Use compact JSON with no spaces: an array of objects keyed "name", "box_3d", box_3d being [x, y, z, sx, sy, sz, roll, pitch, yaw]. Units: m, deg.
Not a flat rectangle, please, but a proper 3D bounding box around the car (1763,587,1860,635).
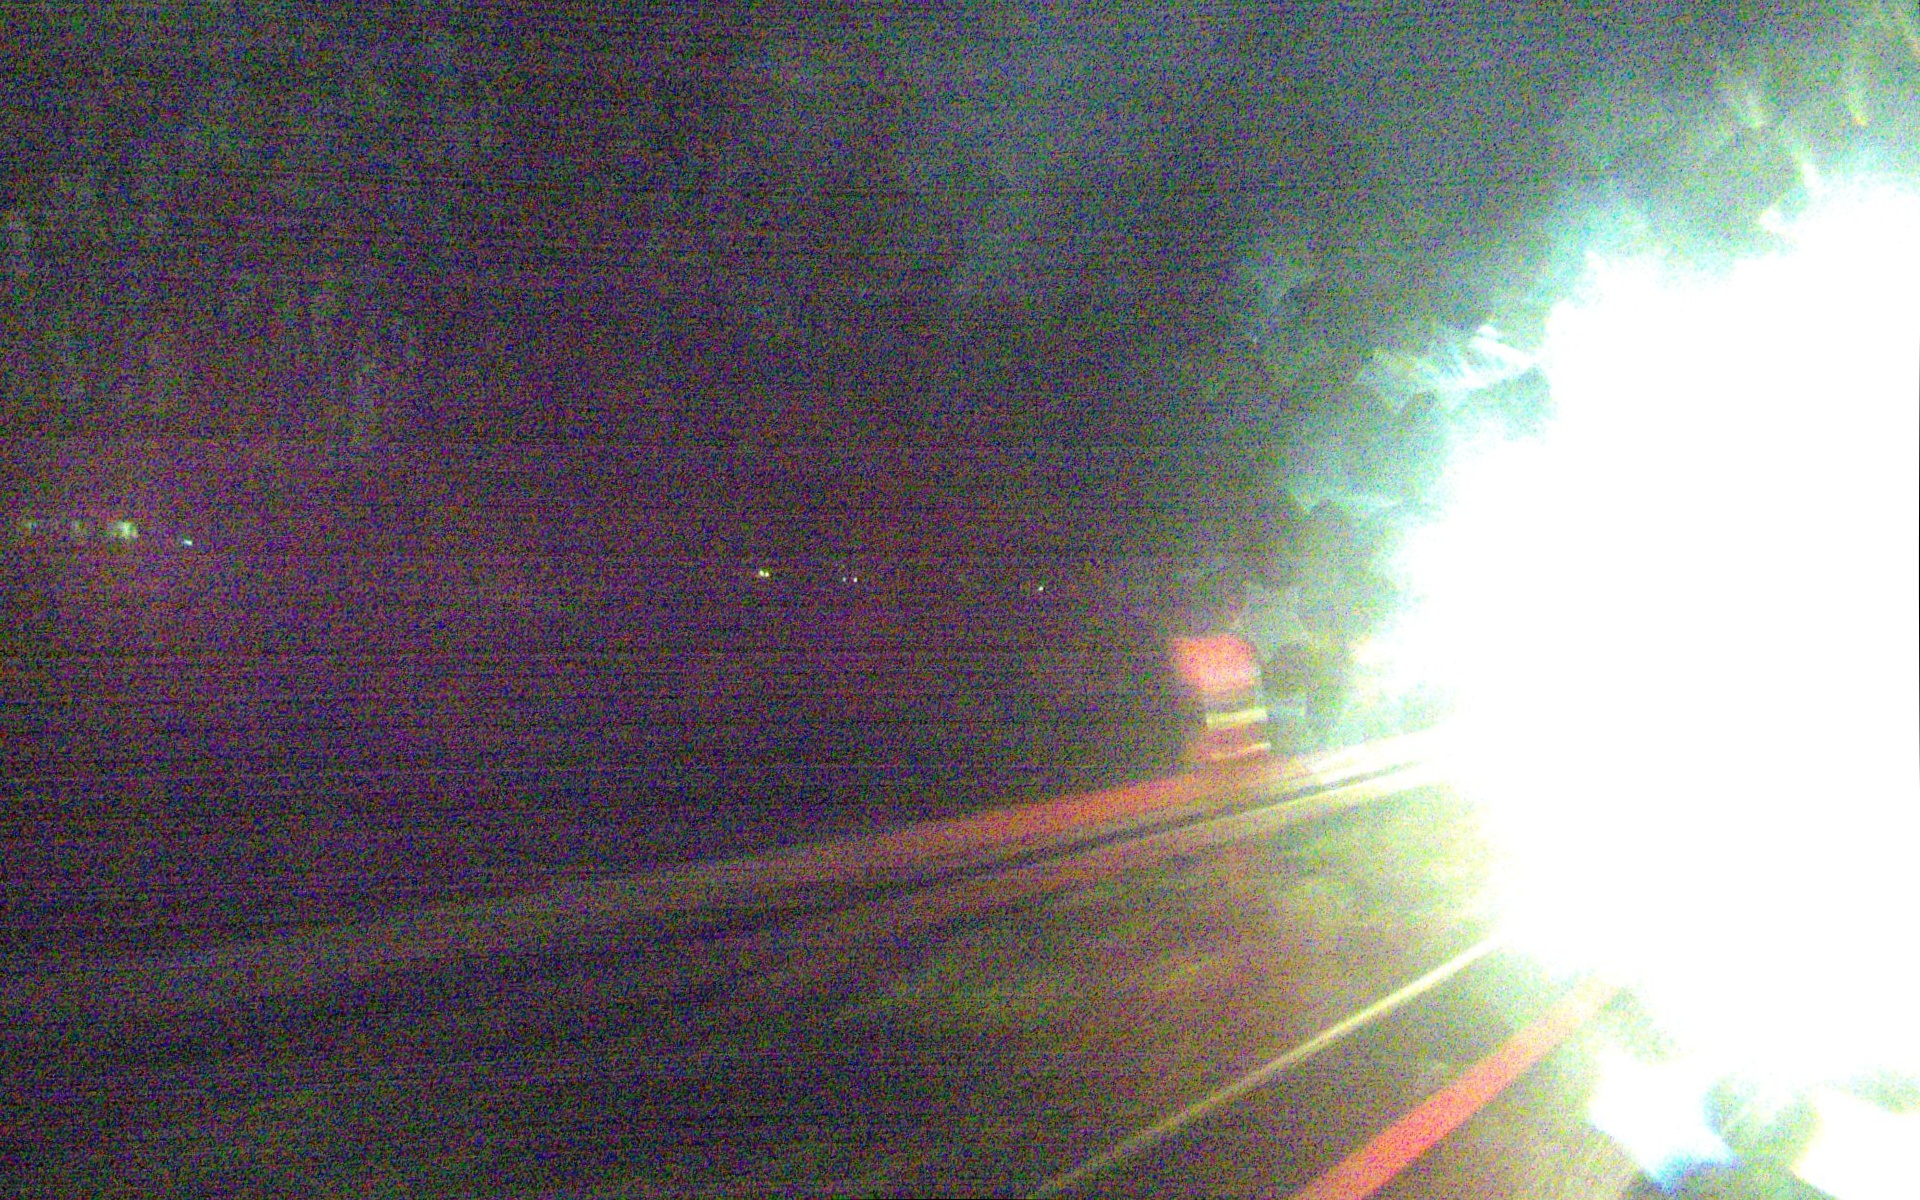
[{"name":"car","box_3d":[28.450,0.333,33.931,1.835,1.467,3.834,0,1,30]}]
